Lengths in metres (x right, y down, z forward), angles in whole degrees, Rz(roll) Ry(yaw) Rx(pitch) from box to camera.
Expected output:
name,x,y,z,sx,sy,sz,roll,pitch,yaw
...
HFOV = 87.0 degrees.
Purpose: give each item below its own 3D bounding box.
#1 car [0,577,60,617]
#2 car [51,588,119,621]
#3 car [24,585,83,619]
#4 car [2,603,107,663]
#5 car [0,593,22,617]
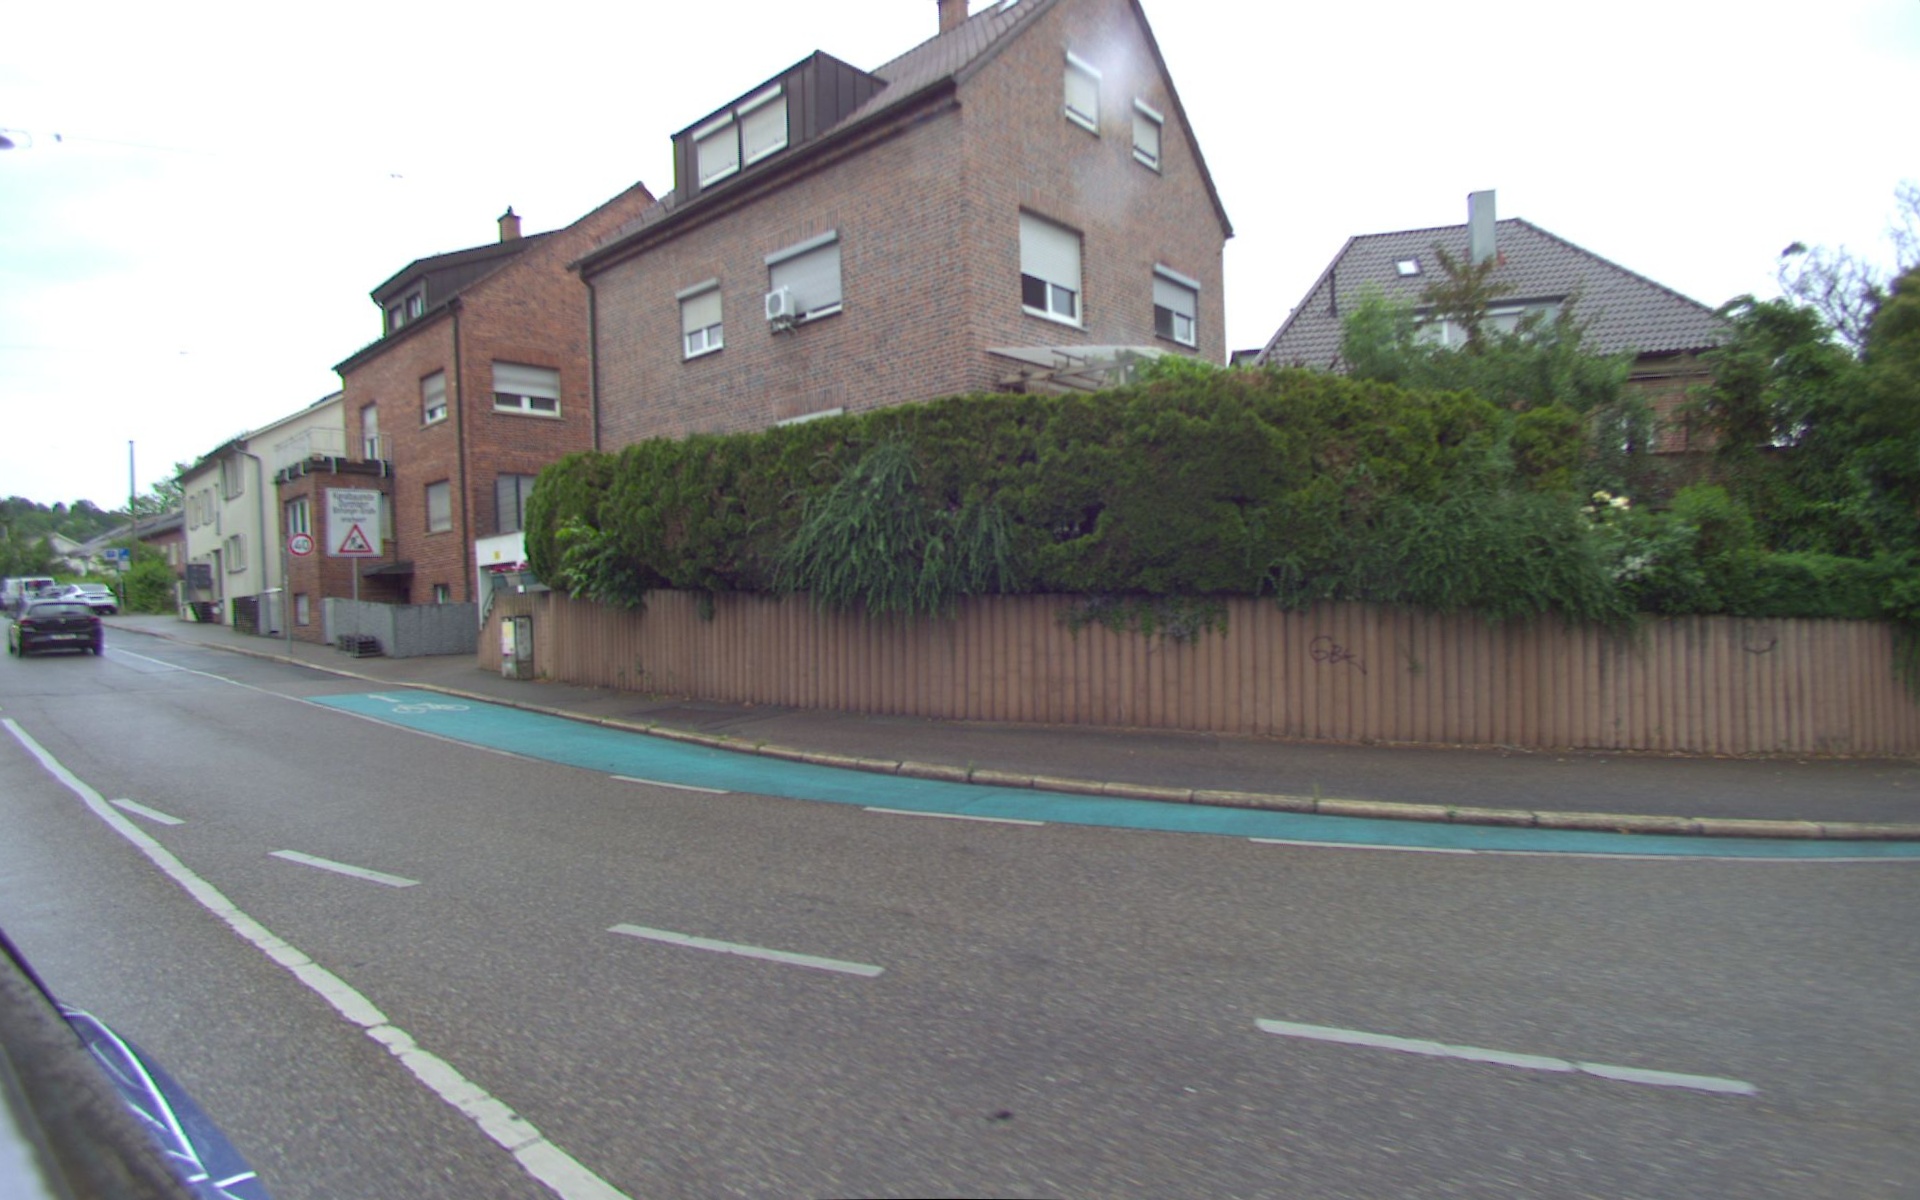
name,x,y,z,sx,sy,sz,roll,pitch,yaw
car,-57.117,-0.183,61.890,4.540,2.303,2.231,-1,2,37
car,-45.952,0.231,53.143,4.258,1.577,1.923,-1,2,39
car,-52.254,0.140,58.320,4.258,1.817,1.793,-1,2,39
car,-24.338,0.836,27.174,1.894,1.457,3.720,-1,0,-45
car,-61.733,0.357,64.622,3.997,1.501,1.638,-1,2,31
